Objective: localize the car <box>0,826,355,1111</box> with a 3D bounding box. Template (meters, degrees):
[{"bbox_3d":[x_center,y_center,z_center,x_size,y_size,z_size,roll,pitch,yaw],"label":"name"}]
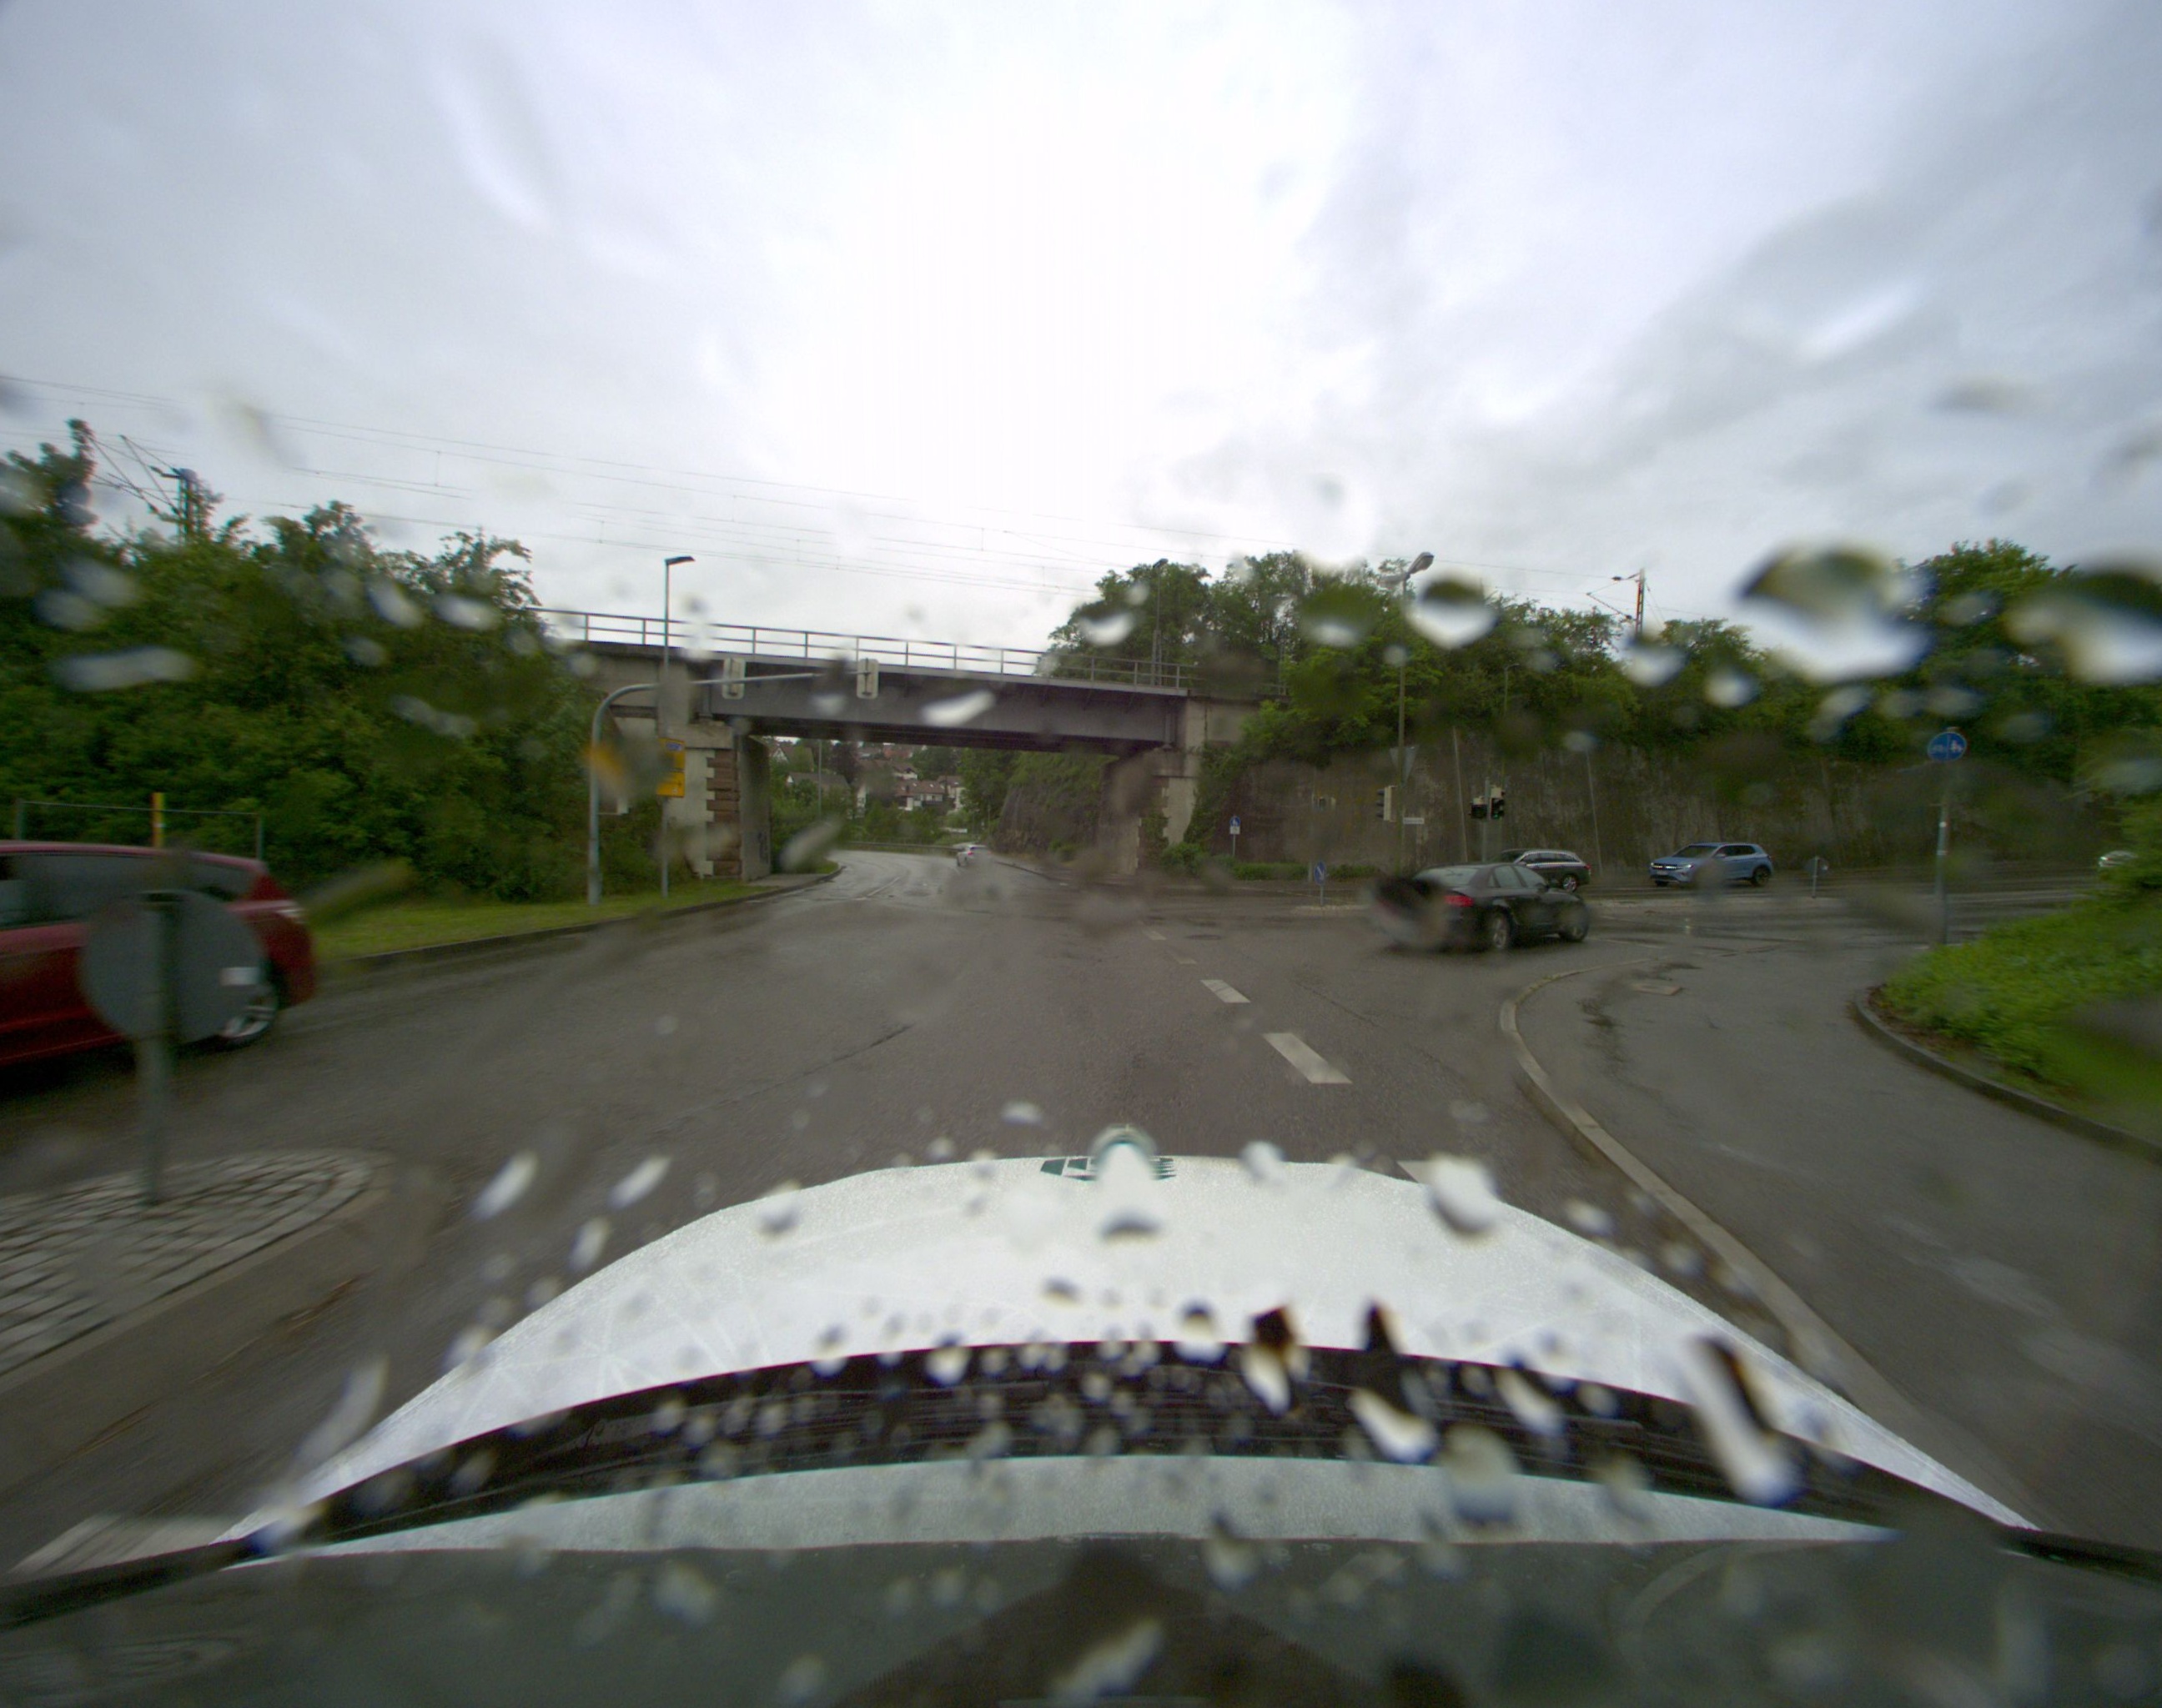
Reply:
[{"bbox_3d":[-7.459,0.696,5.054,1.893,1.714,4.676,0,0,-4],"label":"car"}]

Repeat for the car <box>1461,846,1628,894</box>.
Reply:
[{"bbox_3d":[15.581,0.507,27.472,4.712,1.503,1.994,0,0,-9],"label":"car"}]

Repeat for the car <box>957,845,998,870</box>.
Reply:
[{"bbox_3d":[-6.821,0.238,53.334,1.999,1.562,3.976,0,0,-18],"label":"car"}]

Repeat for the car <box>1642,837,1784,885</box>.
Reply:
[{"bbox_3d":[22.614,0.235,29.185,4.038,1.657,1.814,0,0,-11],"label":"car"}]

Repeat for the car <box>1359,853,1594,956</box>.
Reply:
[{"bbox_3d":[6.776,0.732,13.800,4.226,1.492,1.877,0,0,-37],"label":"car"}]
